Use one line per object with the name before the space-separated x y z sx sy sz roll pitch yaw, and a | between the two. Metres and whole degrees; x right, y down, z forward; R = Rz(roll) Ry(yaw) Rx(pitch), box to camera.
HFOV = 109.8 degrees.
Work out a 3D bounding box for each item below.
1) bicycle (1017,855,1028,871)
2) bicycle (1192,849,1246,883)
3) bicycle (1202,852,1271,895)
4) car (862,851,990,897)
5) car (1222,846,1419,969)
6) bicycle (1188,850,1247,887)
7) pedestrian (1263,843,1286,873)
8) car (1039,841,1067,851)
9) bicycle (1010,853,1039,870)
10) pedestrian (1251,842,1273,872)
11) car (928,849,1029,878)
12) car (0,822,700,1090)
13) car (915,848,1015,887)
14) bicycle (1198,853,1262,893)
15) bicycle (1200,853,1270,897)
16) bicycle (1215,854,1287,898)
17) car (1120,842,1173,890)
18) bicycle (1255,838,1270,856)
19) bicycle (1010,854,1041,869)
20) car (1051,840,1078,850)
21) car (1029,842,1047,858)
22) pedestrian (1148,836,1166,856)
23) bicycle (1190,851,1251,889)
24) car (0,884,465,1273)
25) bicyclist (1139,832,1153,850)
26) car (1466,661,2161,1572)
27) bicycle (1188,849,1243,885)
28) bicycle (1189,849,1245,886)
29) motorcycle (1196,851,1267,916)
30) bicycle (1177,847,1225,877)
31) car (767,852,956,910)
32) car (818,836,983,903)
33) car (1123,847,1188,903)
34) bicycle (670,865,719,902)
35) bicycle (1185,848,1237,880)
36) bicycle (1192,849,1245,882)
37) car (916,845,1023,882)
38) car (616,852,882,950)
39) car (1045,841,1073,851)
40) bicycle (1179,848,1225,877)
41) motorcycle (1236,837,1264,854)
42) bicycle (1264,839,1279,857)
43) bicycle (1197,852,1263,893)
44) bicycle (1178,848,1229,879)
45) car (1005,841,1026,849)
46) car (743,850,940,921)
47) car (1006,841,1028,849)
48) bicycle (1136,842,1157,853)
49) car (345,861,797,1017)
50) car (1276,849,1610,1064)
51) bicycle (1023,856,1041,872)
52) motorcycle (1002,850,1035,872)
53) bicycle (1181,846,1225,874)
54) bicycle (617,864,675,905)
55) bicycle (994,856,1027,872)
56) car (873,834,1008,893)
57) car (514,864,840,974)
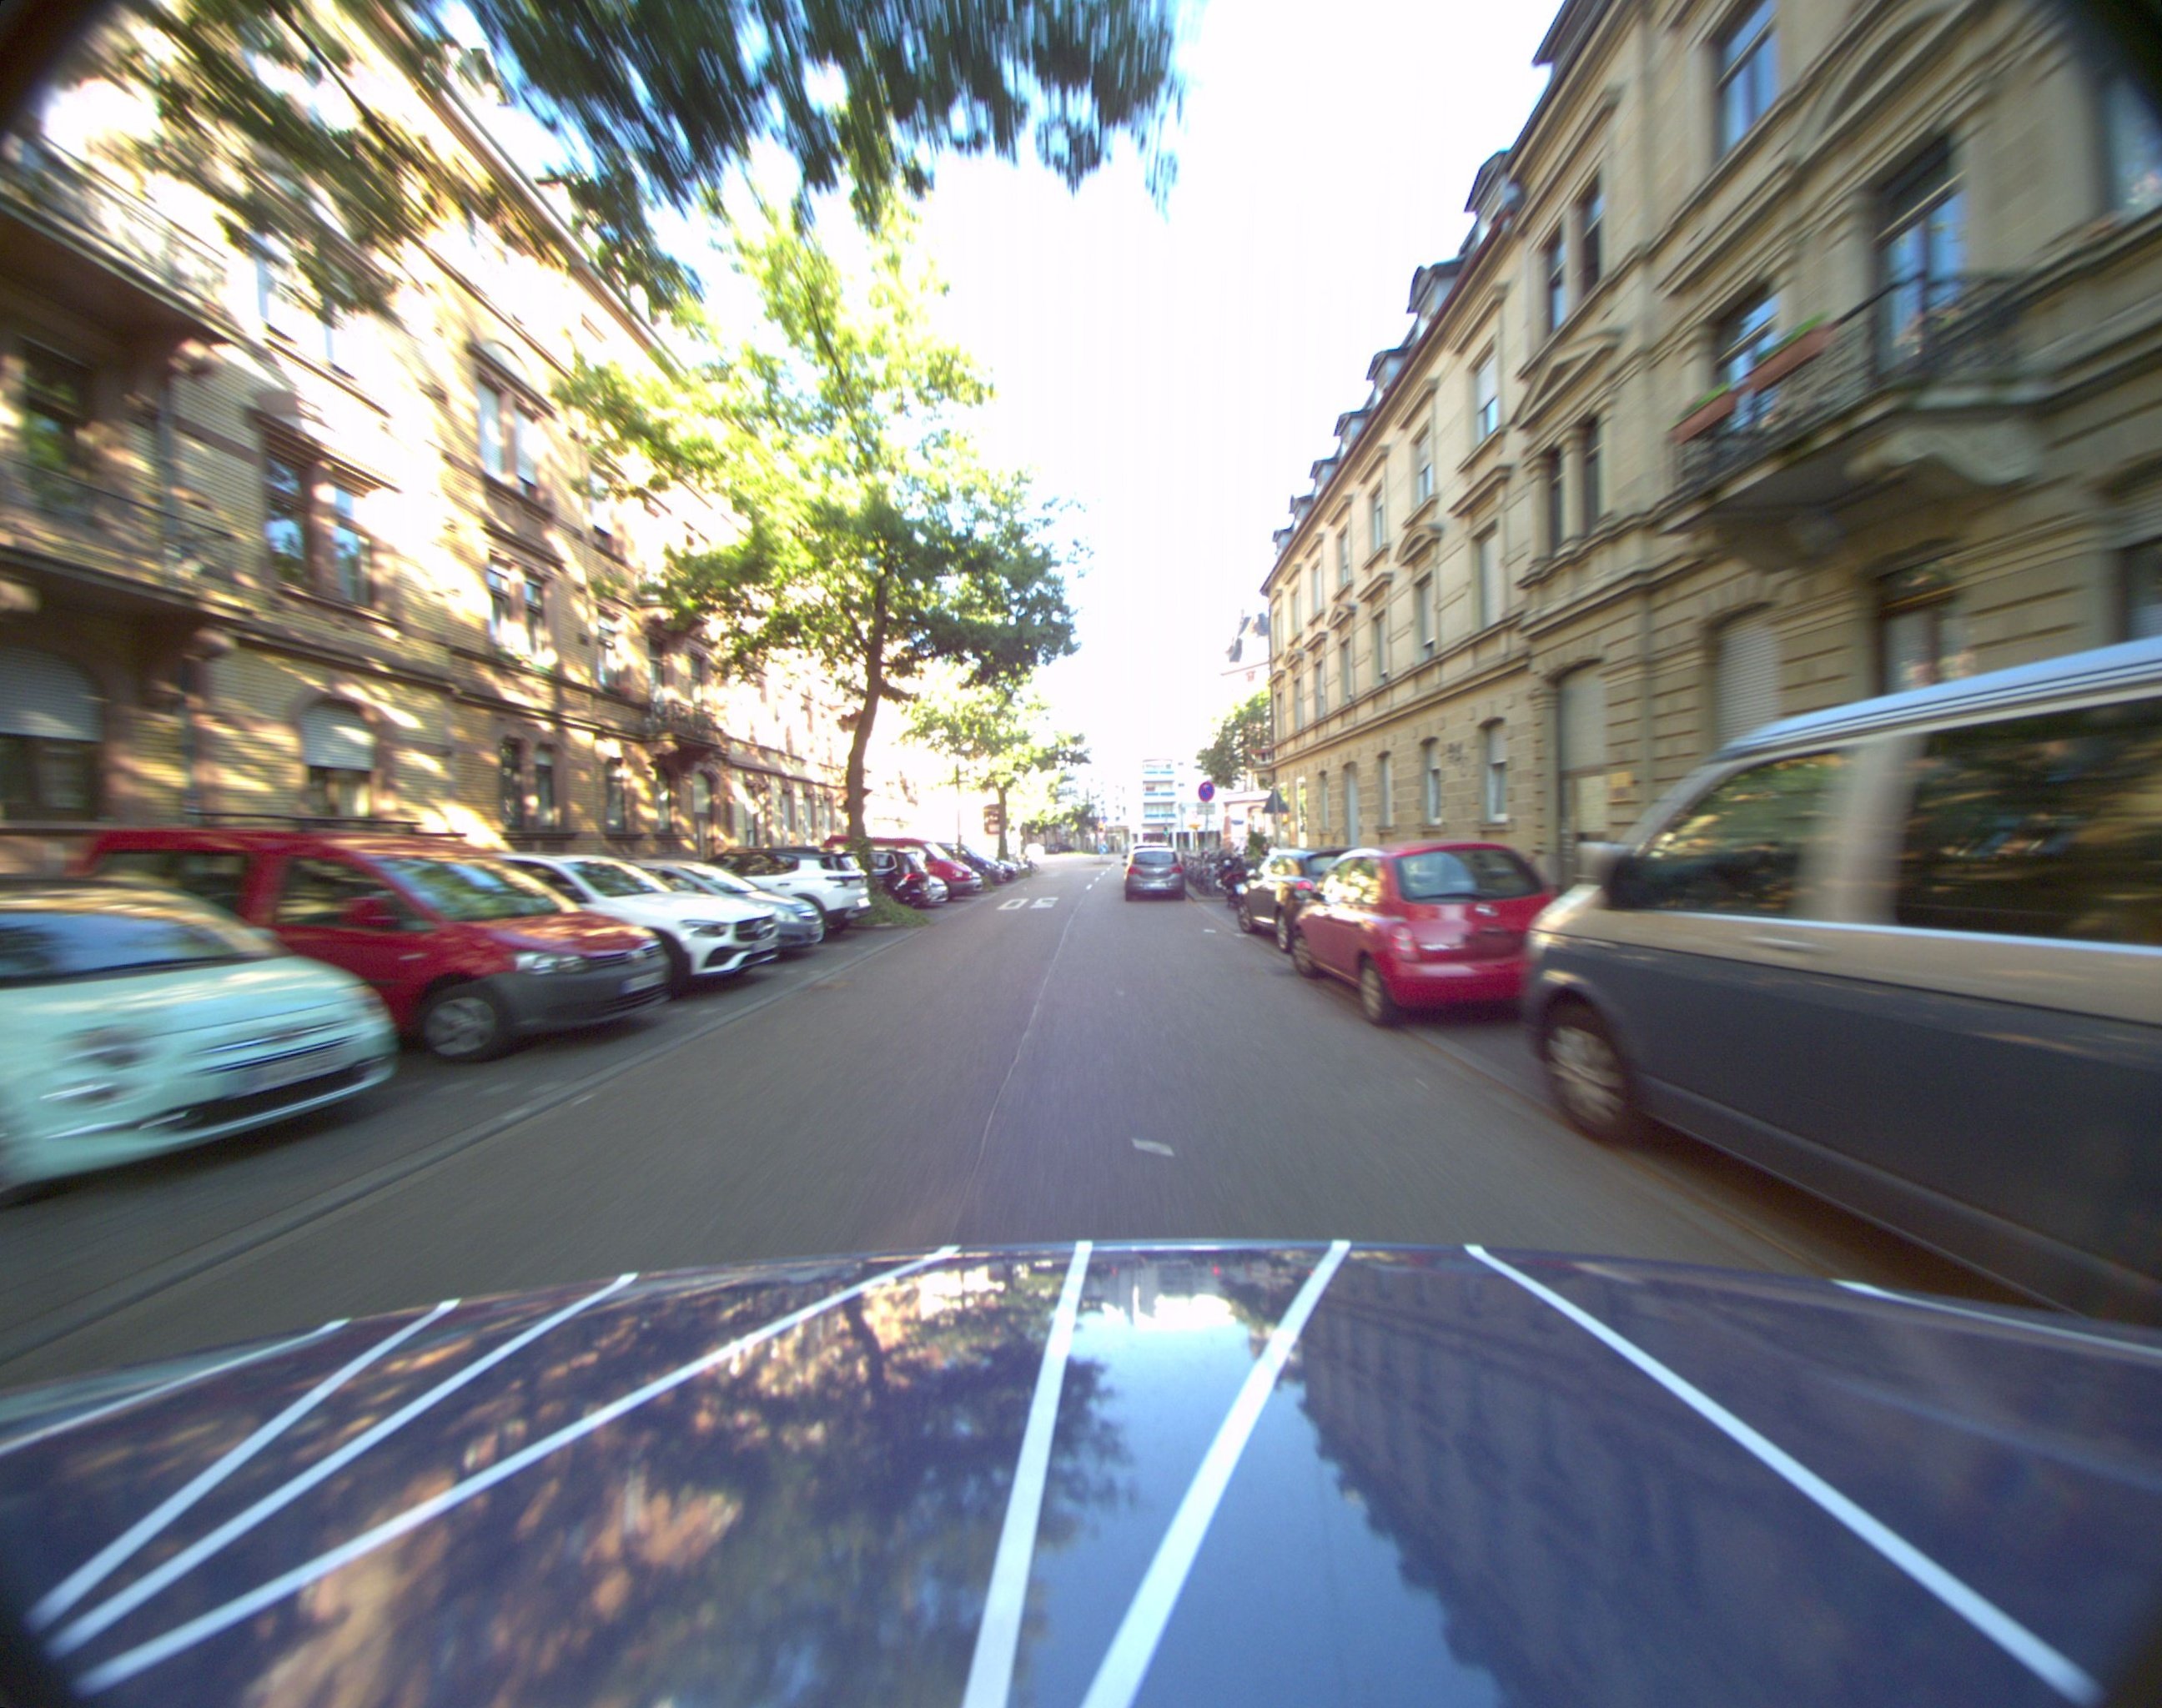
bicycle | -3.584 0.530 46.784 0.354 0.922 1.526 1 2 9
bicycle | 5.071 0.452 28.041 1.871 1.122 0.528 -3 2 4
bicycle | 4.578 0.568 22.467 1.872 1.122 0.528 -3 2 2
car | -5.325 0.674 26.506 4.064 1.502 1.878 0 2 1
car | 3.494 0.678 11.916 1.763 1.492 4.059 -4 1 1
bicycle | 4.632 0.496 25.823 1.872 1.122 0.528 -3 2 2
pedestrian | 8.011 0.157 31.545 0.727 1.207 0.756 -2 2 -1
car | -4.745 -1.401 130.265 4.308 1.576 1.996 -3 2 -19
bicycle | -3.648 0.460 49.152 1.940 1.046 0.501 -1 3 -36
pedestrian | 7.840 0.117 32.925 0.727 1.252 0.756 -2 2 -1
car | -5.187 0.486 38.841 4.796 1.405 1.851 0 2 4
car | -5.973 0.751 6.519 4.455 1.913 1.850 1 0 1
car | -5.158 0.596 34.054 4.115 1.526 1.724 -2 2 2
bicycle | 4.662 0.578 23.841 1.872 1.122 0.528 -3 2 2
bicycle | 4.418 0.603 21.888 1.872 1.122 0.528 -3 2 2
bicycle | 4.767 0.614 21.340 1.872 1.122 0.528 -3 2 2
car | 2.470 0.378 28.335 1.762 1.591 4.551 -1 1 6
bicycle | 12.580 -0.487 52.719 0.547 1.189 2.959 -2 1 6
bicycle | -3.526 0.471 48.183 1.938 0.982 0.495 0 2 -21
car | -2.668 -1.468 123.127 4.003 1.576 1.996 -3 2 -19
car | -5.285 -0.522 92.670 1.999 1.740 3.997 -2 1 -4
pedestrian | 6.642 -0.711 66.591 1.175 1.670 1.005 -3 2 -28
bicycle | 4.616 0.526 25.178 1.872 1.122 0.528 -3 2 2
car | -5.904 0.949 4.181 3.665 1.446 1.851 1 0 7
bicyclist | 5.976 -1.164 69.831 1.082 1.544 0.633 -5 2 -28
car | 3.172 0.511 1.822 1.836 1.932 5.259 -4 1 1
bicycle | 4.796 0.449 27.142 1.875 1.122 0.527 -4 2 -21
bicycle | 4.747 0.459 26.535 1.875 1.122 0.527 -4 2 -21
motorcycle | 3.494 0.634 17.895 1.069 1.362 2.606 -3 1 -1
bicycle | 4.916 0.325 31.214 1.871 1.122 0.528 -3 2 4
car | -6.005 0.720 21.191 4.685 1.506 1.879 0 2 3
car | -5.564 0.439 23.802 4.686 2.022 1.878 0 2 1
car | 2.161 0.554 22.813 1.762 1.492 4.060 -1 1 4
bicycle | -11.113 0.839 21.898 0.405 0.957 1.867 1 1 1
bicycle | 5.016 0.395 29.347 1.871 1.122 0.528 -3 2 4
bicycle | 5.172 0.420 28.714 1.871 1.122 0.528 -3 2 4
car | -5.314 0.424 36.430 4.695 1.669 1.852 0 2 10
car | -5.878 0.796 13.838 4.020 1.618 1.804 0 2 0
car | -3.729 -1.332 128.049 4.308 1.576 1.996 -3 2 -19
bicycle | 5.196 0.356 32.619 1.871 1.122 0.528 -3 2 4
motorcycle | 13.633 -0.706 61.278 2.112 1.258 0.841 -3 2 -24
bicycle | 13.175 -0.440 52.670 0.547 1.189 2.959 -2 1 6
bicycle | 4.534 0.570 23.170 1.872 1.122 0.528 -3 2 2
bicycle | 4.832 0.373 30.026 1.871 1.122 0.528 -3 2 4
car | -14.506 -1.996 168.101 4.307 1.576 1.997 -2 2 -17
car | -5.752 0.730 18.603 4.196 1.618 1.837 0 2 1
car | -13.786 -1.949 163.151 4.307 1.576 1.997 -2 2 -17
bicycle | 6.038 -0.624 69.857 1.881 0.907 0.633 -4 1 -28
car | -5.915 0.888 9.069 4.352 1.547 1.851 1 0 9
car | 3.114 0.745 7.405 1.596 1.467 3.699 -4 1 3
bicycle | -2.981 0.586 46.436 0.353 0.922 1.416 2 2 31
motorcycle | -3.685 0.407 44.900 1.902 1.227 0.686 0 2 2
bicycle | 5.477 0.259 34.246 1.871 1.122 0.528 -3 2 4
bicycle | -11.386 0.780 19.935 0.405 0.957 1.867 1 1 1
bicycle | -4.241 0.577 45.584 1.935 0.922 0.354 1 2 0
car | -5.692 0.359 31.253 5.033 2.202 1.992 -2 2 2
car | -5.979 0.927 11.583 4.019 1.426 1.794 1 2 2
